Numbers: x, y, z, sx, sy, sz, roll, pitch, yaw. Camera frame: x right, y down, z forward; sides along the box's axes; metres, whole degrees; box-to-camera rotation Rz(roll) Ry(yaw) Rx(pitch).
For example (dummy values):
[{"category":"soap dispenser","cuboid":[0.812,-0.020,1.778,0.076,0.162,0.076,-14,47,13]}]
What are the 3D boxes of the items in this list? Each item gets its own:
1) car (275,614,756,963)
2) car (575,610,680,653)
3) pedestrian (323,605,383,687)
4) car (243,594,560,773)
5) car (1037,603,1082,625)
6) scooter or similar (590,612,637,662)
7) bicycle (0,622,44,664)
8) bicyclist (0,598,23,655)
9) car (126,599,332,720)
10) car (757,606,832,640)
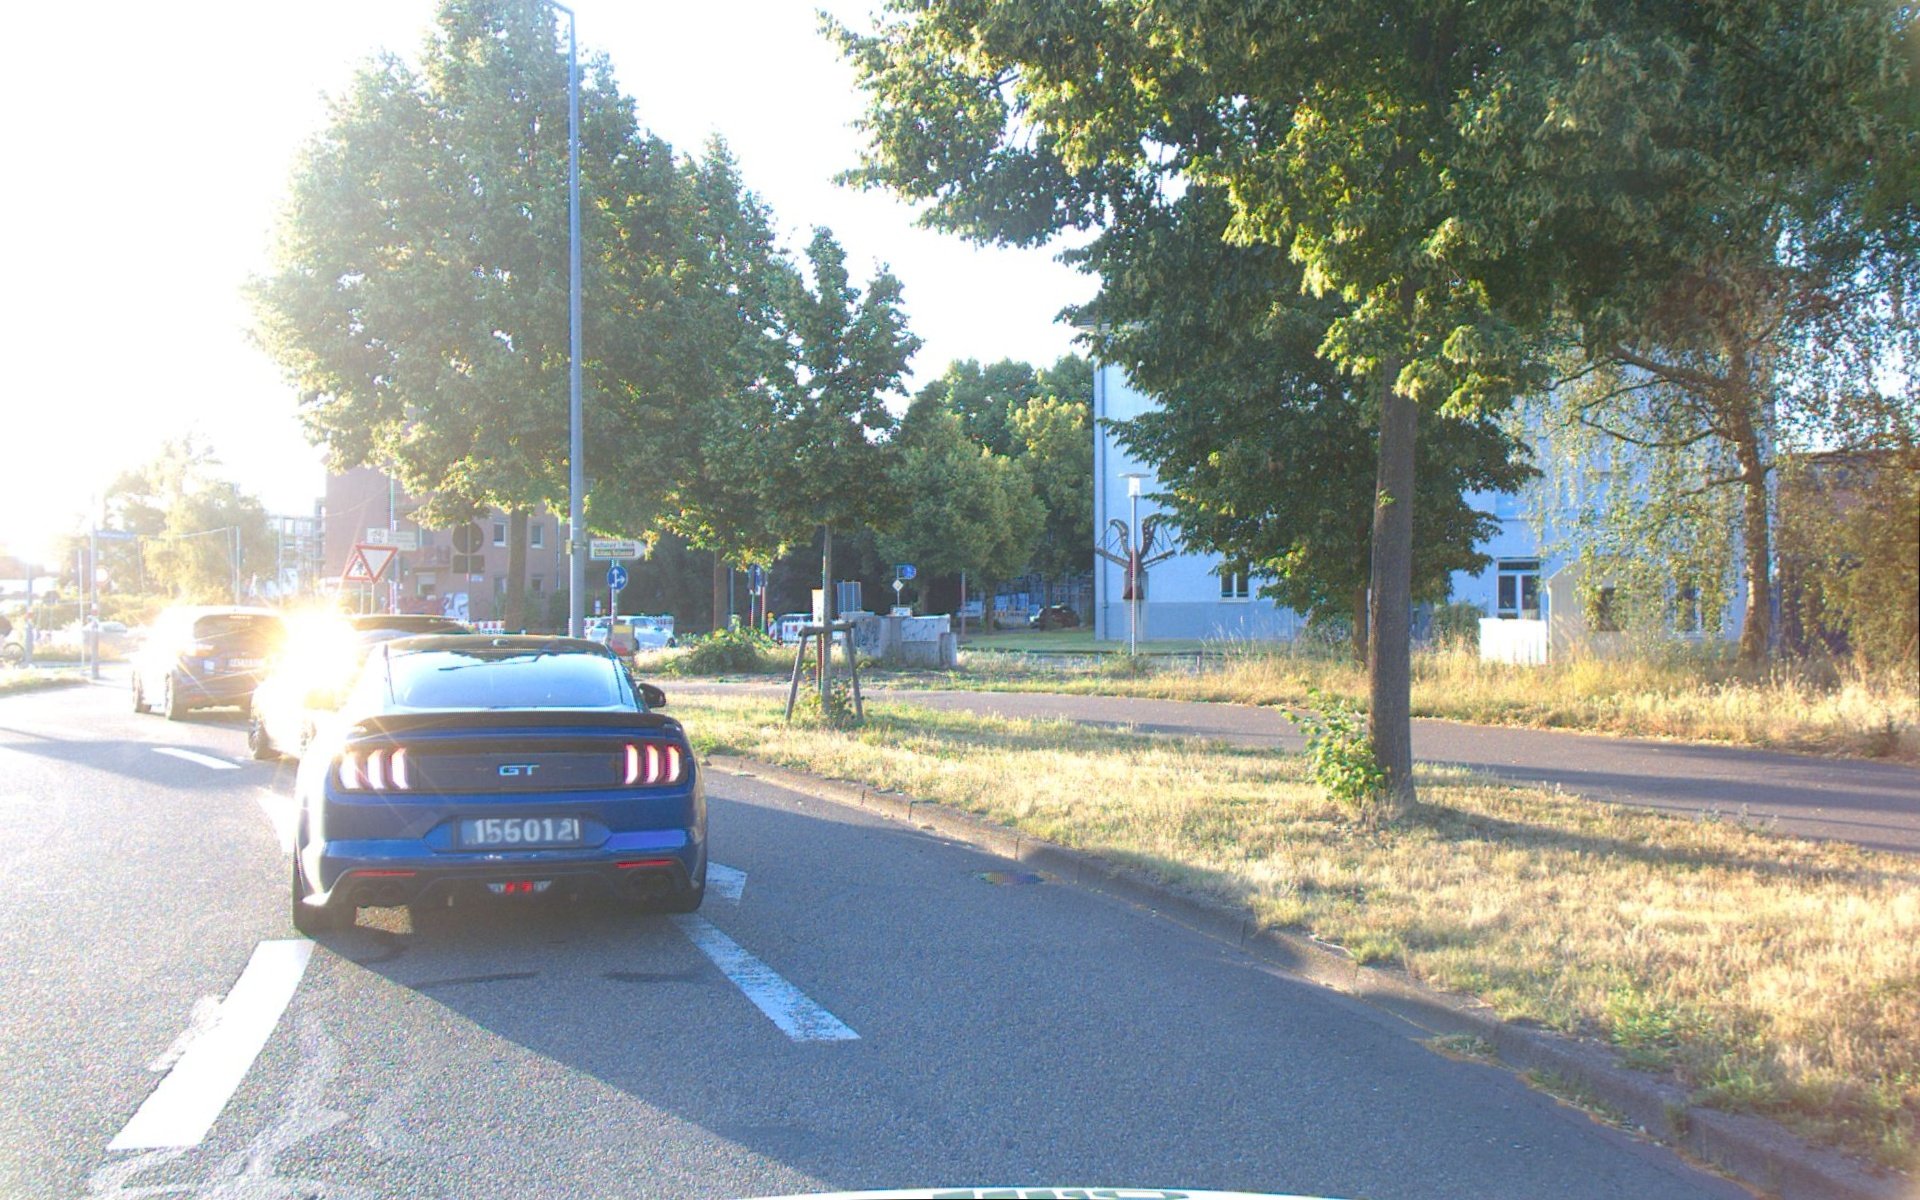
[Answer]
[{"category":"car","cuboid":[-2.619,0.804,9.141,1.923,1.365,4.642,2,-1,-20]},{"category":"car","cuboid":[-11.804,1.092,58.912,1.837,1.426,3.916,0,0,22]},{"category":"pedestrian","cuboid":[-12.962,0.966,35.349,0.866,1.716,0.846,0,0,21]},{"category":"car","cuboid":[-5.473,0.691,15.825,1.932,1.452,4.381,2,-1,-32]},{"category":"car","cuboid":[6.566,0.913,108.837,1.837,1.426,3.916,0,0,21]},{"category":"scooter or similar","cuboid":[-8.914,0.945,42.601,1.109,1.260,0.437,0,0,-32]},{"category":"bicycle","cuboid":[-28.256,1.263,48.591,0.737,1.187,2.408,0,0,24]},{"category":"bicyclist","cuboid":[-28.238,0.774,48.583,0.737,1.641,0.977,0,0,24]},{"category":"car","cuboid":[-11.083,0.867,24.932,1.936,1.630,4.024,4,-3,-37]},{"category":"car","cuboid":[-7.256,1.005,72.879,1.836,1.426,3.918,0,0,18]}]
